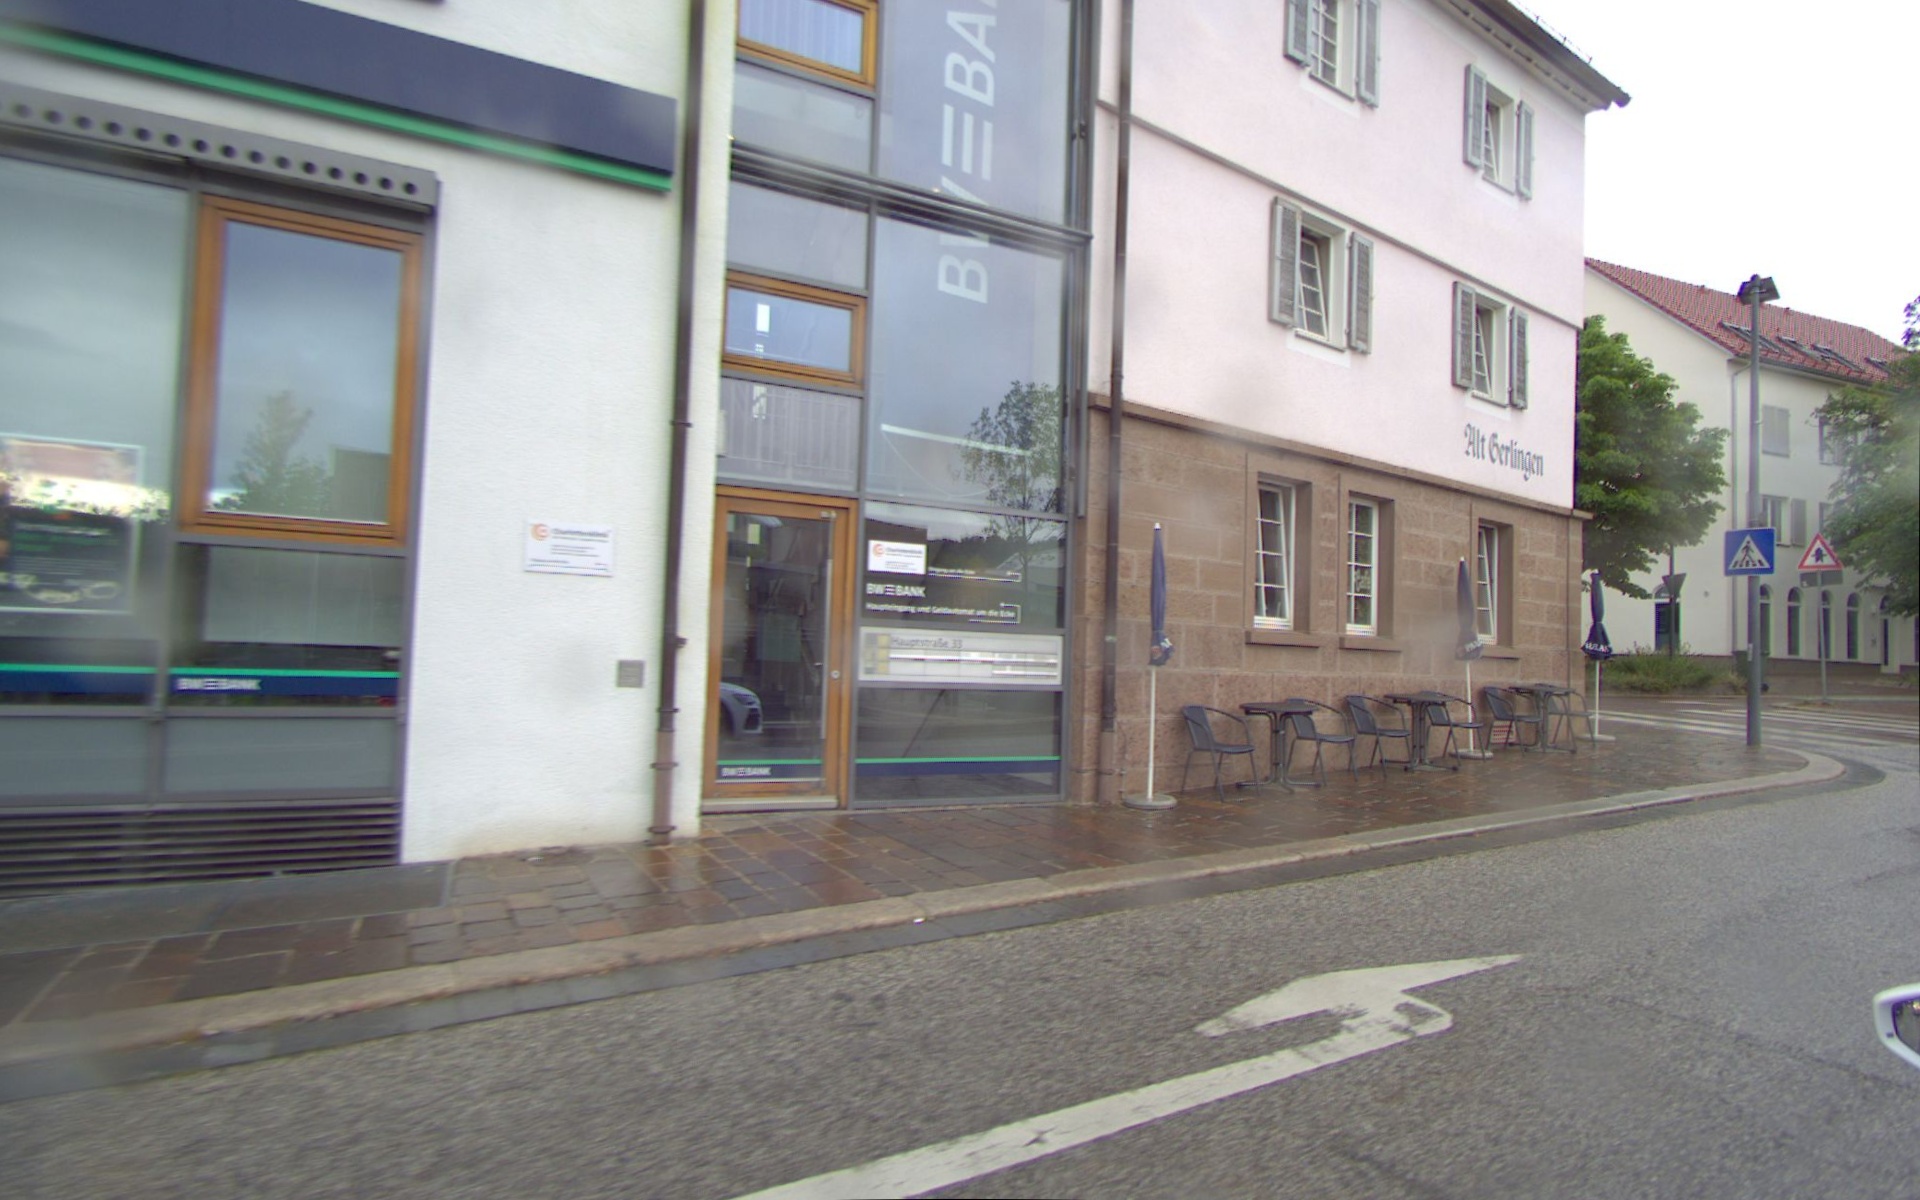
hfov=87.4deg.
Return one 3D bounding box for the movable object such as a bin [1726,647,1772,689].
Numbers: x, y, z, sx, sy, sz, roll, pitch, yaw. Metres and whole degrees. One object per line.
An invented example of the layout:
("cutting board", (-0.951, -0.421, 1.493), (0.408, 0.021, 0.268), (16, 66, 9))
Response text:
("movable object such as a bin", (20.905, 1.804, 26.608), (0.685, 1.072, 0.636), (1, -3, -6))
